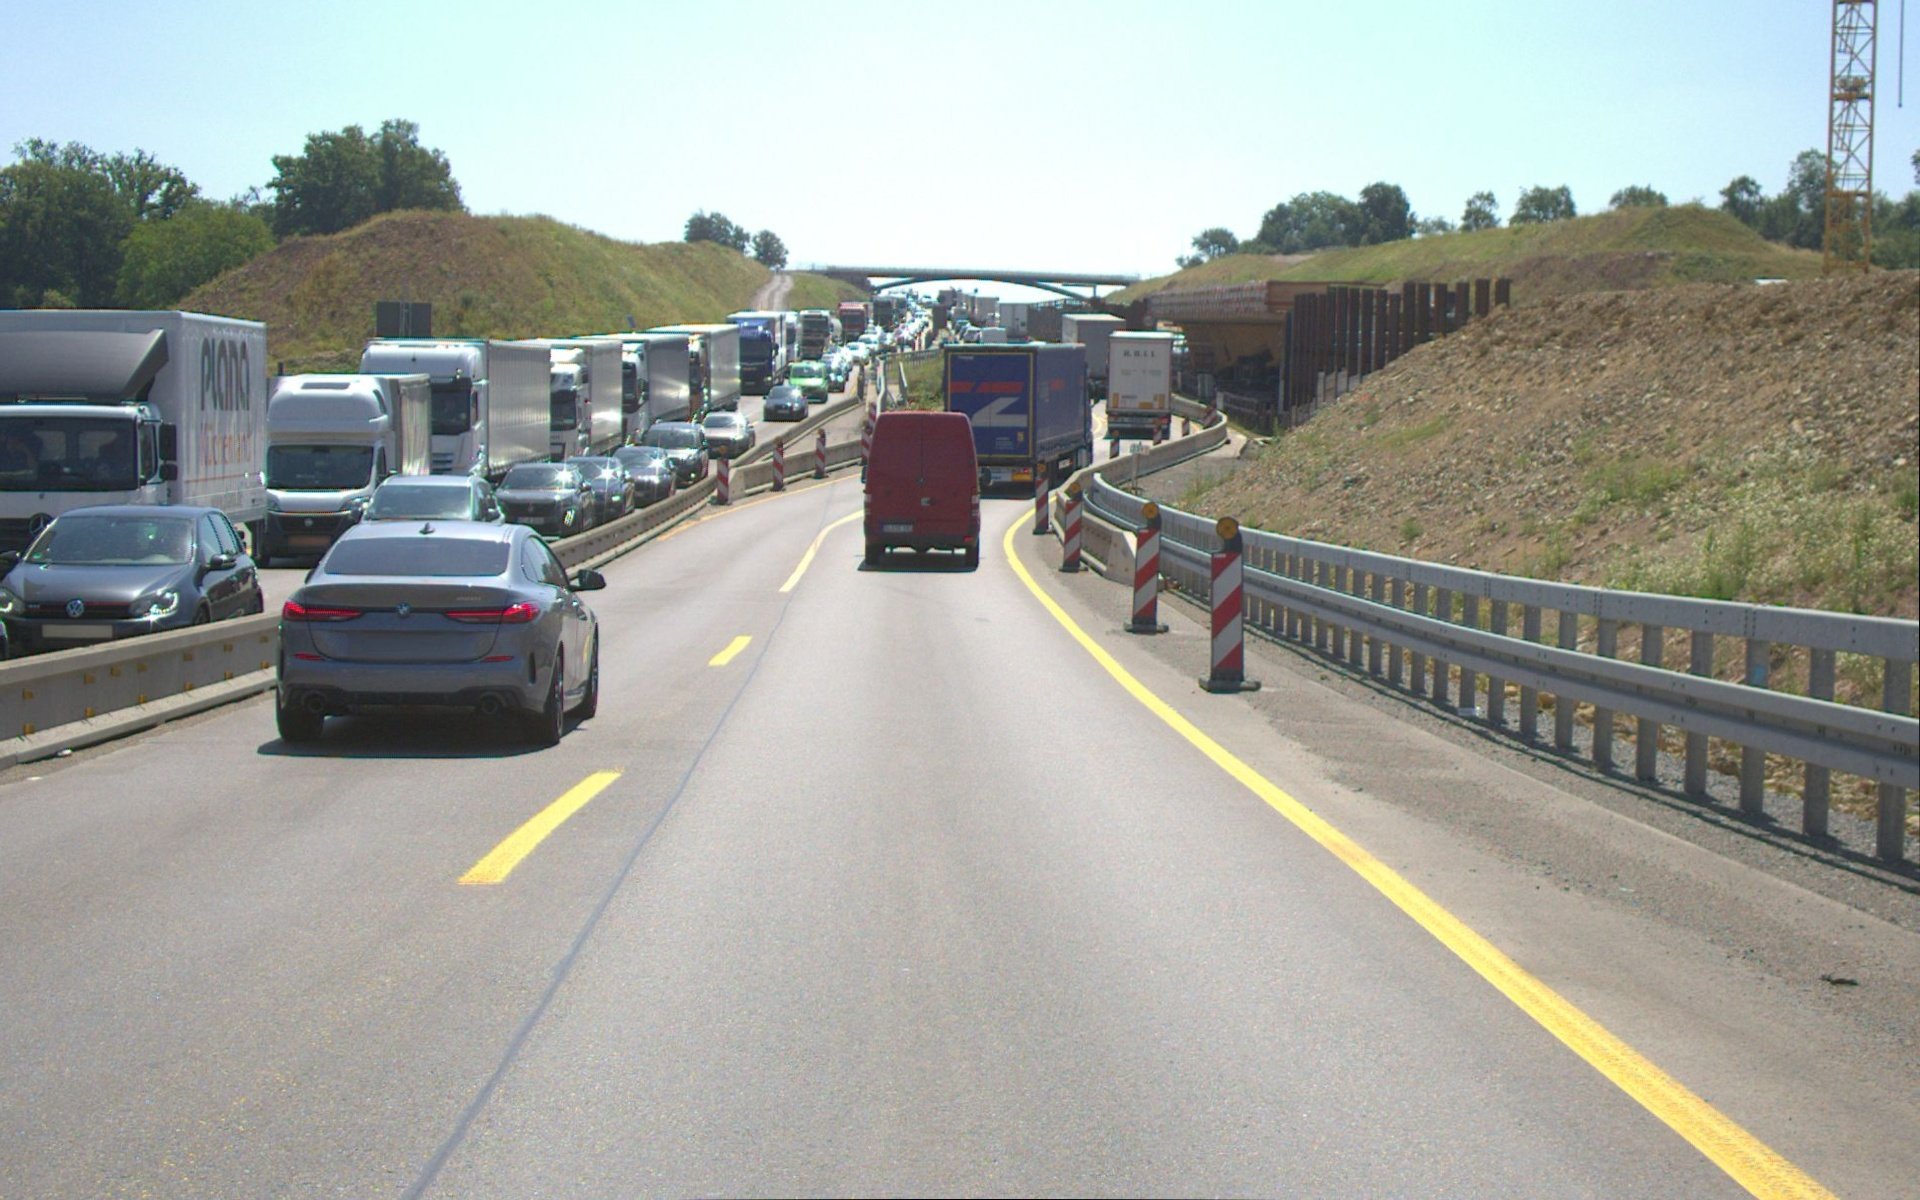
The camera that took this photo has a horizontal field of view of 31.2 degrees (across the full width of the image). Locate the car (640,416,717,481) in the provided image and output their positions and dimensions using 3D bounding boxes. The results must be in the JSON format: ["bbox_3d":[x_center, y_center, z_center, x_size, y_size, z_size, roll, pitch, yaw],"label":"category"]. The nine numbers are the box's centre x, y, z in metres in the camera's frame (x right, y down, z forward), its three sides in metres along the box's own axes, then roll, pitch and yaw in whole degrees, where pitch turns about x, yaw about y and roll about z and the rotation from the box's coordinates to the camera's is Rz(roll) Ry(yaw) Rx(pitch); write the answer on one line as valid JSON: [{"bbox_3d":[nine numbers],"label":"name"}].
[{"bbox_3d":[-8.009,-4.314,98.031,1.993,1.776,4.001,1,2,-2],"label":"car"}]

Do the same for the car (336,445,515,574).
[{"bbox_3d":[-7.532,-1.295,48.828,1.827,1.645,4.547,3,2,-1],"label":"car"}]

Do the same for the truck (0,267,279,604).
[{"bbox_3d":[-10.698,-2.059,43.788,2.524,3.842,8.673,1,2,-2],"label":"truck"}]

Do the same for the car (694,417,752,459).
[{"bbox_3d":[-8.128,-5.554,118.195,1.747,1.404,4.001,1,2,-1],"label":"car"}]

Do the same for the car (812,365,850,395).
[{"bbox_3d":[-6.943,-11.844,185.219,1.952,1.524,4.268,1,2,-1],"label":"car"}]

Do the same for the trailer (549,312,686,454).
[{"bbox_3d":[-11.537,-7.273,116.918,3.042,4.536,12.128,1,3,2],"label":"trailer"}]

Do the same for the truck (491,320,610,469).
[{"bbox_3d":[-11.214,-5.587,94.527,2.782,3.856,5.462,1,1,-2],"label":"truck"}]

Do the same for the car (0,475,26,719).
[{"bbox_3d":[-7.032,0.002,20.638,1.827,1.568,4.000,1,1,-1],"label":"car"}]

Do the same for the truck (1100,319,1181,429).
[{"bbox_3d":[7.346,-9.084,138.926,3.039,4.086,7.084,0,1,5],"label":"truck"}]

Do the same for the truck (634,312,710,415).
[{"bbox_3d":[-11.264,-9.239,135.034,2.683,3.825,7.388,1,2,-3],"label":"truck"}]

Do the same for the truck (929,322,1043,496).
[{"bbox_3d":[0.707,-5.332,96.844,3.020,4.676,6.933,-1,3,0],"label":"truck"}]

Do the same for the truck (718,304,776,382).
[{"bbox_3d":[-11.259,-13.599,182.363,2.887,3.825,8.004,1,2,-3],"label":"truck"}]

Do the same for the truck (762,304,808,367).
[{"bbox_3d":[-11.387,-17.149,223.463,2.887,3.825,8.004,1,2,-3],"label":"truck"}]

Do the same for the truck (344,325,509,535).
[{"bbox_3d":[-11.228,-3.604,72.882,2.550,4.216,6.531,1,3,-1],"label":"truck"}]

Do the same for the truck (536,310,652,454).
[{"bbox_3d":[-11.770,-7.001,110.994,3.052,4.465,5.981,1,3,0],"label":"truck"}]

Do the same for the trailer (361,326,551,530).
[{"bbox_3d":[-11.334,-3.871,78.438,2.595,4.242,12.469,1,2,-1],"label":"trailer"}]

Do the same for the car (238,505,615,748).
[{"bbox_3d":[-3.486,0.095,23.307,1.851,1.447,4.742,1,2,-1],"label":"car"}]

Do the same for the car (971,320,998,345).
[{"bbox_3d":[1.815,-19.879,255.438,1.952,1.635,4.268,1,2,-1],"label":"car"}]

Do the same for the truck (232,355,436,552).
[{"bbox_3d":[-10.545,-2.528,58.501,2.433,3.137,7.025,0,3,-2],"label":"truck"}]

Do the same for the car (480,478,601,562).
[{"bbox_3d":[-7.967,-1.532,65.676,1.827,1.530,4.547,1,1,-1],"label":"car"}]

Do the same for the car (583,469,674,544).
[{"bbox_3d":[-8.256,-2.319,85.936,1.993,1.777,4.000,1,0,-2],"label":"car"}]

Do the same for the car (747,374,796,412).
[{"bbox_3d":[-8.149,-8.953,148.779,1.952,1.524,4.268,1,2,-1],"label":"car"}]

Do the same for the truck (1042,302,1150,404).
[{"bbox_3d":[7.470,-13.235,185.957,5.161,4.979,13.875,-1,2,5],"label":"truck"}]

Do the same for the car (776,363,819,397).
[{"bbox_3d":[-7.930,-10.749,168.193,1.952,1.524,4.268,1,2,-1],"label":"car"}]

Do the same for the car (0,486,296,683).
[{"bbox_3d":[-7.151,-0.170,29.577,1.993,1.551,4.339,1,1,0],"label":"car"}]

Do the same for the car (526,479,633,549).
[{"bbox_3d":[-8.369,-1.924,75.913,1.902,1.371,4.547,-2,3,-1],"label":"car"}]

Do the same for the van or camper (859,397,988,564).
[{"bbox_3d":[-0.672,-2.095,59.581,2.029,2.734,4.516,1,2,-3],"label":"van or camper"}]
